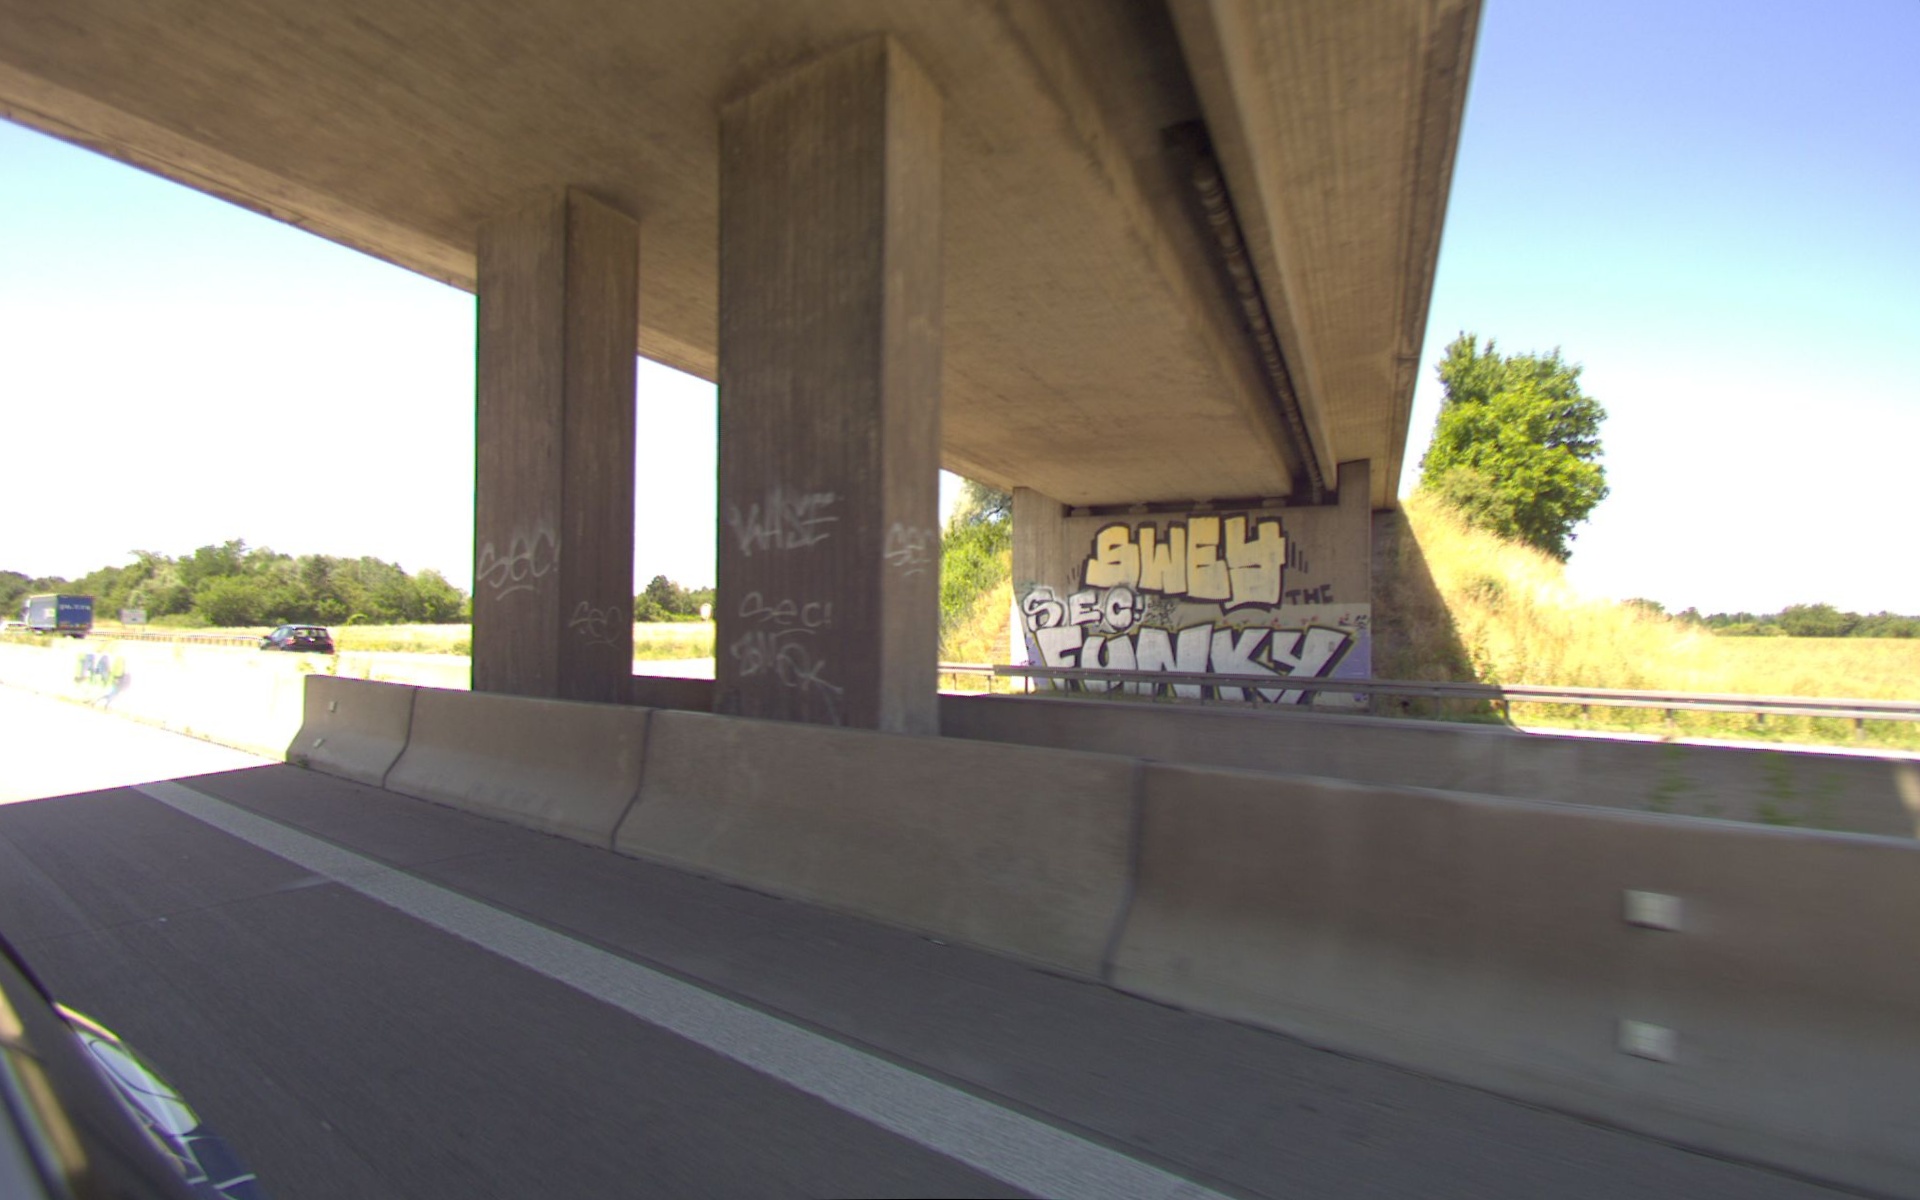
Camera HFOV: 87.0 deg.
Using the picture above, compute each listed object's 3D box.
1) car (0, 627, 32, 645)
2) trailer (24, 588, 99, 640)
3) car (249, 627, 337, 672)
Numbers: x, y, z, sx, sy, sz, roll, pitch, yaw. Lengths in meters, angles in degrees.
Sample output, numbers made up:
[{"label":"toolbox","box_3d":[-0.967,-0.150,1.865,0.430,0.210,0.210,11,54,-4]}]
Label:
[{"label":"car","box_3d":[-76.536,2.898,81.616,4.666,1.420,1.796,-1,-2,39]},{"label":"trailer","box_3d":[-81.670,1.271,91.831,13.492,4.412,3.232,-1,0,41]},{"label":"car","box_3d":[-25.389,1.837,38.480,3.858,1.631,1.748,-1,-2,40]}]
